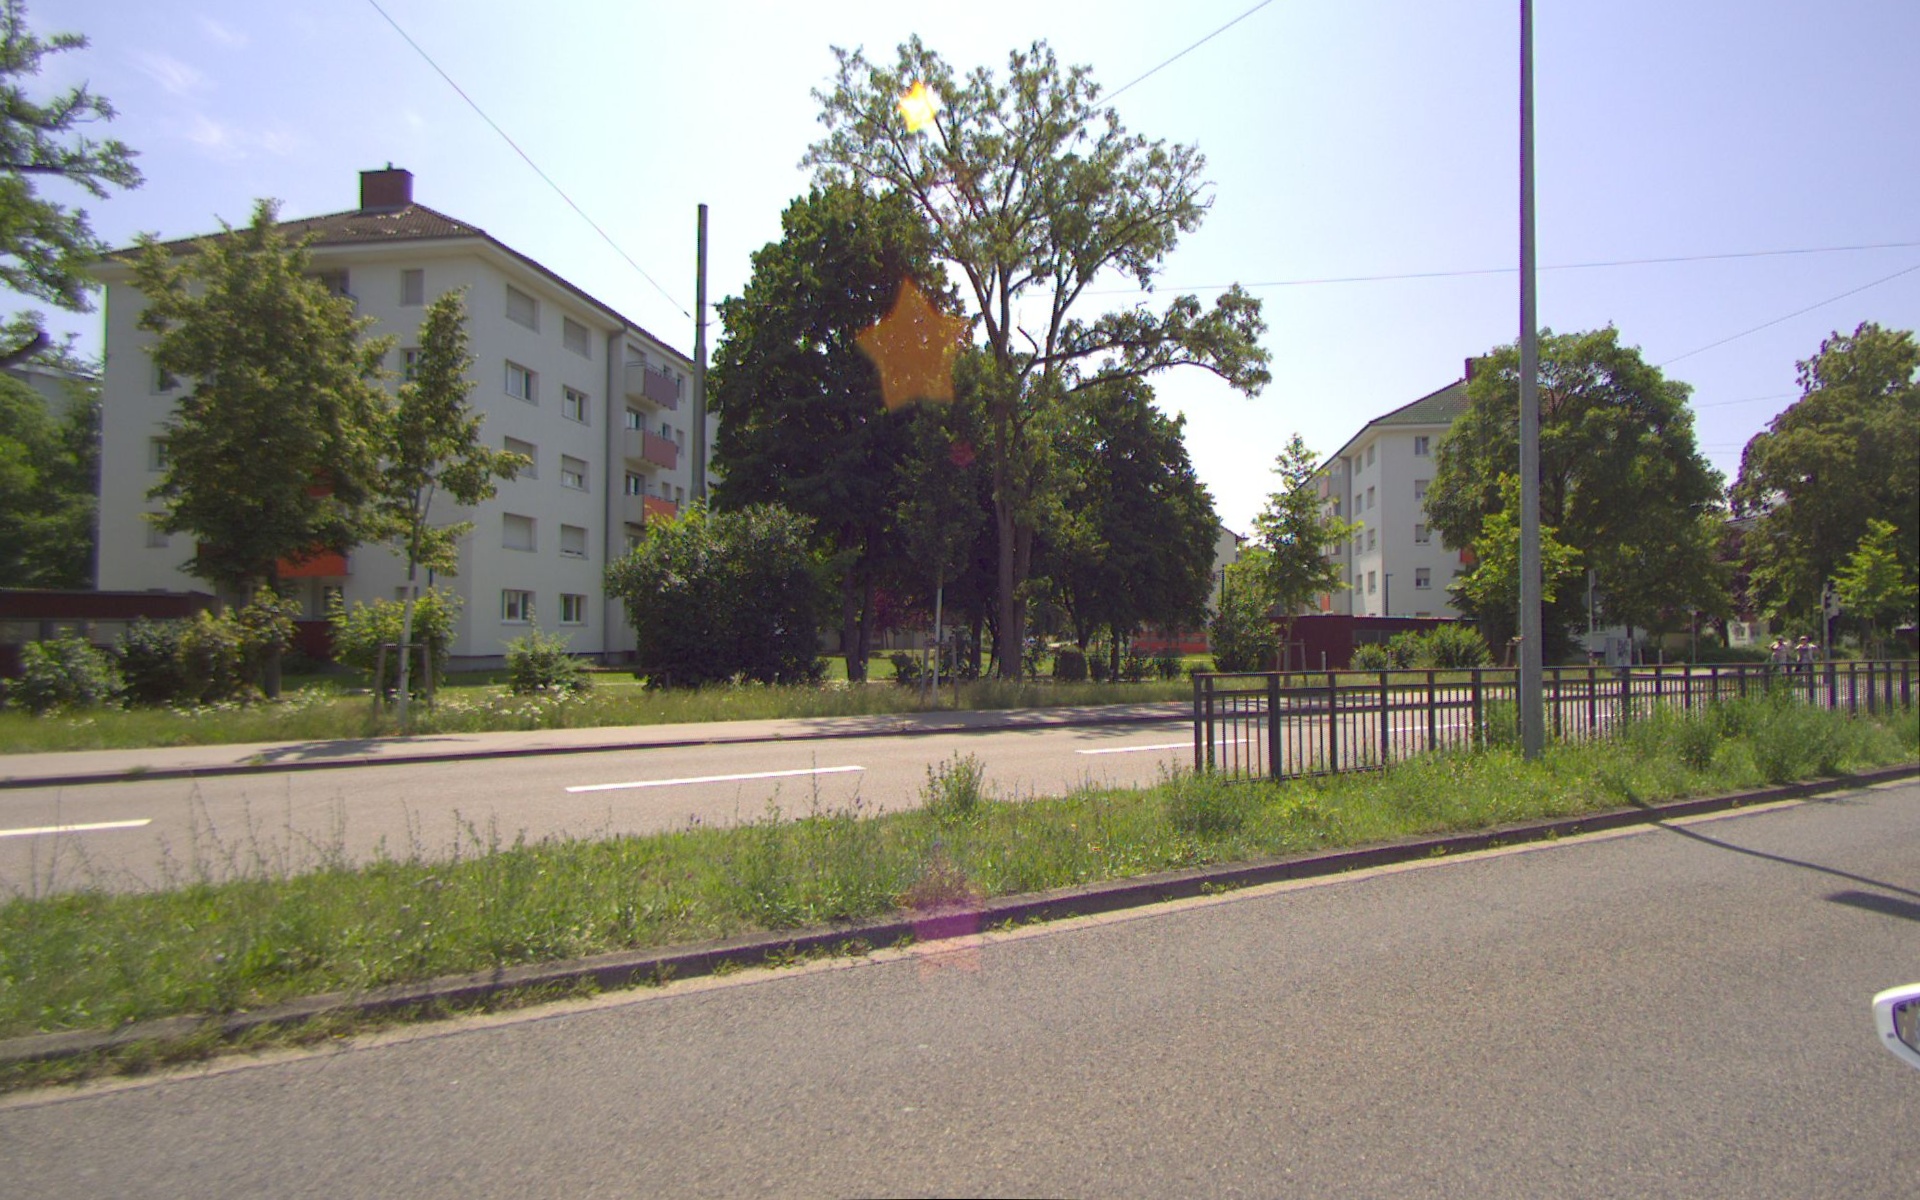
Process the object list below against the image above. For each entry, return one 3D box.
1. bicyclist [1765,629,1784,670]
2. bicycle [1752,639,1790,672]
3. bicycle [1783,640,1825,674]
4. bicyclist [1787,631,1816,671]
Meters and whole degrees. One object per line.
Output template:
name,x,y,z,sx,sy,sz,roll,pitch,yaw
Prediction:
bicyclist,28.679,1.747,35.361,0.435,1.410,0.356,1,-1,-28
bicycle,28.478,1.947,35.269,1.363,1.109,0.551,3,-1,-29
bicycle,29.119,1.966,34.657,1.596,1.148,0.585,2,-2,-30
bicyclist,28.905,1.750,34.515,0.747,1.363,0.542,1,-2,-31
